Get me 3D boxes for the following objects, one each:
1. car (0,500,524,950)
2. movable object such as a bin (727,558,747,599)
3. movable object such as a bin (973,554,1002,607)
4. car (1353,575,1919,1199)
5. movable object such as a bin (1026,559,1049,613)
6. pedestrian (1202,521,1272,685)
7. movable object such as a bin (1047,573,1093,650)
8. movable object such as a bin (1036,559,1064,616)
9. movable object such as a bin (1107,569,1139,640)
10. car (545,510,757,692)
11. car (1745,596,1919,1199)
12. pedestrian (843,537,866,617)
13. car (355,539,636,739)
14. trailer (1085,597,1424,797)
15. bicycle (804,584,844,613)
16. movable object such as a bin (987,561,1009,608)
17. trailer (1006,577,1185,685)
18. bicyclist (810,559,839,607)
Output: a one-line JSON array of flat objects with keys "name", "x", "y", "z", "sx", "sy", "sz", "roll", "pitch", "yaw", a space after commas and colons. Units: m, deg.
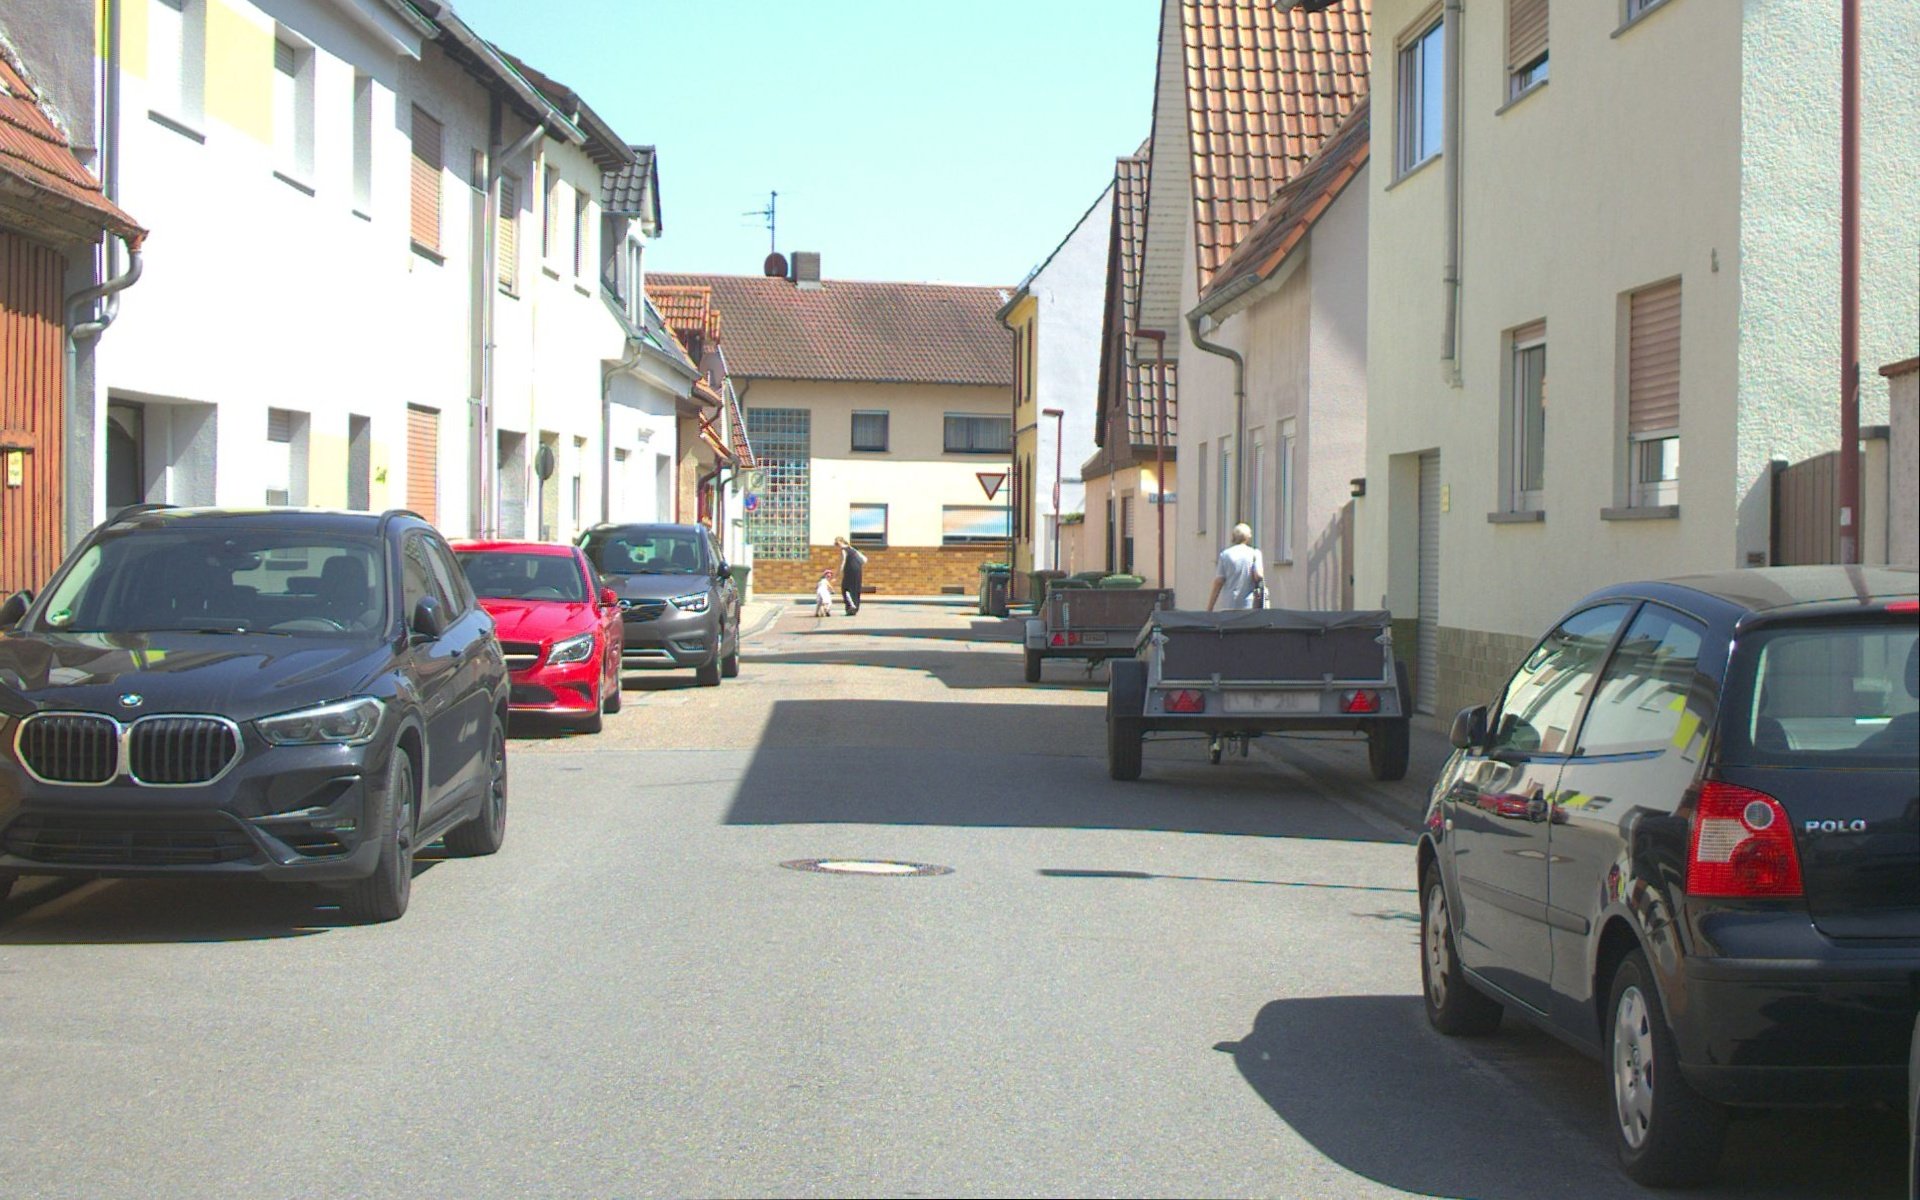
[{"name": "car", "x": -2.998, "y": 0.404, "z": 14.311, "sx": 1.800, "sy": 1.568, "sz": 4.615, "roll": 0, "pitch": 1, "yaw": 0}, {"name": "movable object such as a bin", "x": -5.029, "y": -0.487, "z": 77.619, "sx": 0.448, "sy": 0.918, "sz": 0.404, "roll": 0, "pitch": 1, "yaw": -3}, {"name": "movable object such as a bin", "x": 0.580, "y": -0.415, "z": 72.265, "sx": 0.569, "sy": 1.124, "sz": 0.454, "roll": 0, "pitch": 1, "yaw": -3}, {"name": "car", "x": 2.282, "y": 0.660, "z": 9.681, "sx": 1.649, "sy": 1.431, "sz": 4.135, "roll": 0, "pitch": 1, "yaw": -3}, {"name": "movable object such as a bin", "x": 1.603, "y": -0.289, "z": 71.109, "sx": 0.425, "sy": 1.124, "sz": 0.414, "roll": 0, "pitch": 1, "yaw": -3}, {"name": "pedestrian", "x": 2.670, "y": 0.033, "z": 33.157, "sx": 0.595, "sy": 1.559, "sz": 0.557, "roll": 0, "pitch": -3, "yaw": -3}, {"name": "movable object such as a bin", "x": 1.492, "y": 0.151, "z": 46.760, "sx": 0.585, "sy": 1.029, "sz": 0.596, "roll": 0, "pitch": 1, "yaw": -2}, {"name": "movable object such as a bin", "x": 1.796, "y": -0.253, "z": 68.545, "sx": 0.525, "sy": 1.124, "sz": 0.366, "roll": 0, "pitch": 1, "yaw": -3}, {"name": "movable object such as a bin", "x": 2.529, "y": 0.065, "z": 53.240, "sx": 0.457, "sy": 1.083, "sz": 0.502, "roll": 0, "pitch": 1, "yaw": -2}, {"name": "car", "x": -3.056, "y": -0.023, "z": 34.792, "sx": 1.800, "sy": 1.698, "sz": 4.488, "roll": -1, "pitch": 1, "yaw": -1}, {"name": "car", "x": 2.572, "y": 0.753, "z": 4.461, "sx": 1.790, "sy": 1.476, "sz": 4.934, "roll": -1, "pitch": 1, "yaw": -2}, {"name": "pedestrian", "x": -2.125, "y": -0.463, "z": 69.168, "sx": 0.411, "sy": 1.604, "sz": 0.368, "roll": 0, "pitch": 1, "yaw": -11}, {"name": "car", "x": -3.555, "y": 0.249, "z": 27.026, "sx": 1.800, "sy": 1.436, "sz": 4.488, "roll": 0, "pitch": 1, "yaw": -3}, {"name": "trailer", "x": 1.779, "y": 0.566, "z": 21.798, "sx": 1.817, "sy": 1.086, "sz": 3.481, "roll": 0, "pitch": 1, "yaw": 0}, {"name": "bicycle", "x": -2.723, "y": -0.037, "z": 68.857, "sx": 0.441, "sy": 0.565, "sz": 0.939, "roll": 0, "pitch": 1, "yaw": -28}, {"name": "movable object such as a bin", "x": 0.799, "y": -0.325, "z": 71.661, "sx": 0.424, "sy": 0.972, "sz": 0.473, "roll": 0, "pitch": 1, "yaw": -3}, {"name": "trailer", "x": 1.395, "y": 0.303, "z": 36.622, "sx": 1.699, "sy": 1.029, "sz": 3.481, "roll": 0, "pitch": 1, "yaw": -1}, {"name": "bicyclist", "x": -2.715, "y": -0.346, "z": 68.862, "sx": 0.461, "sy": 0.956, "sz": 0.352, "roll": 0, "pitch": 0, "yaw": -30}]
